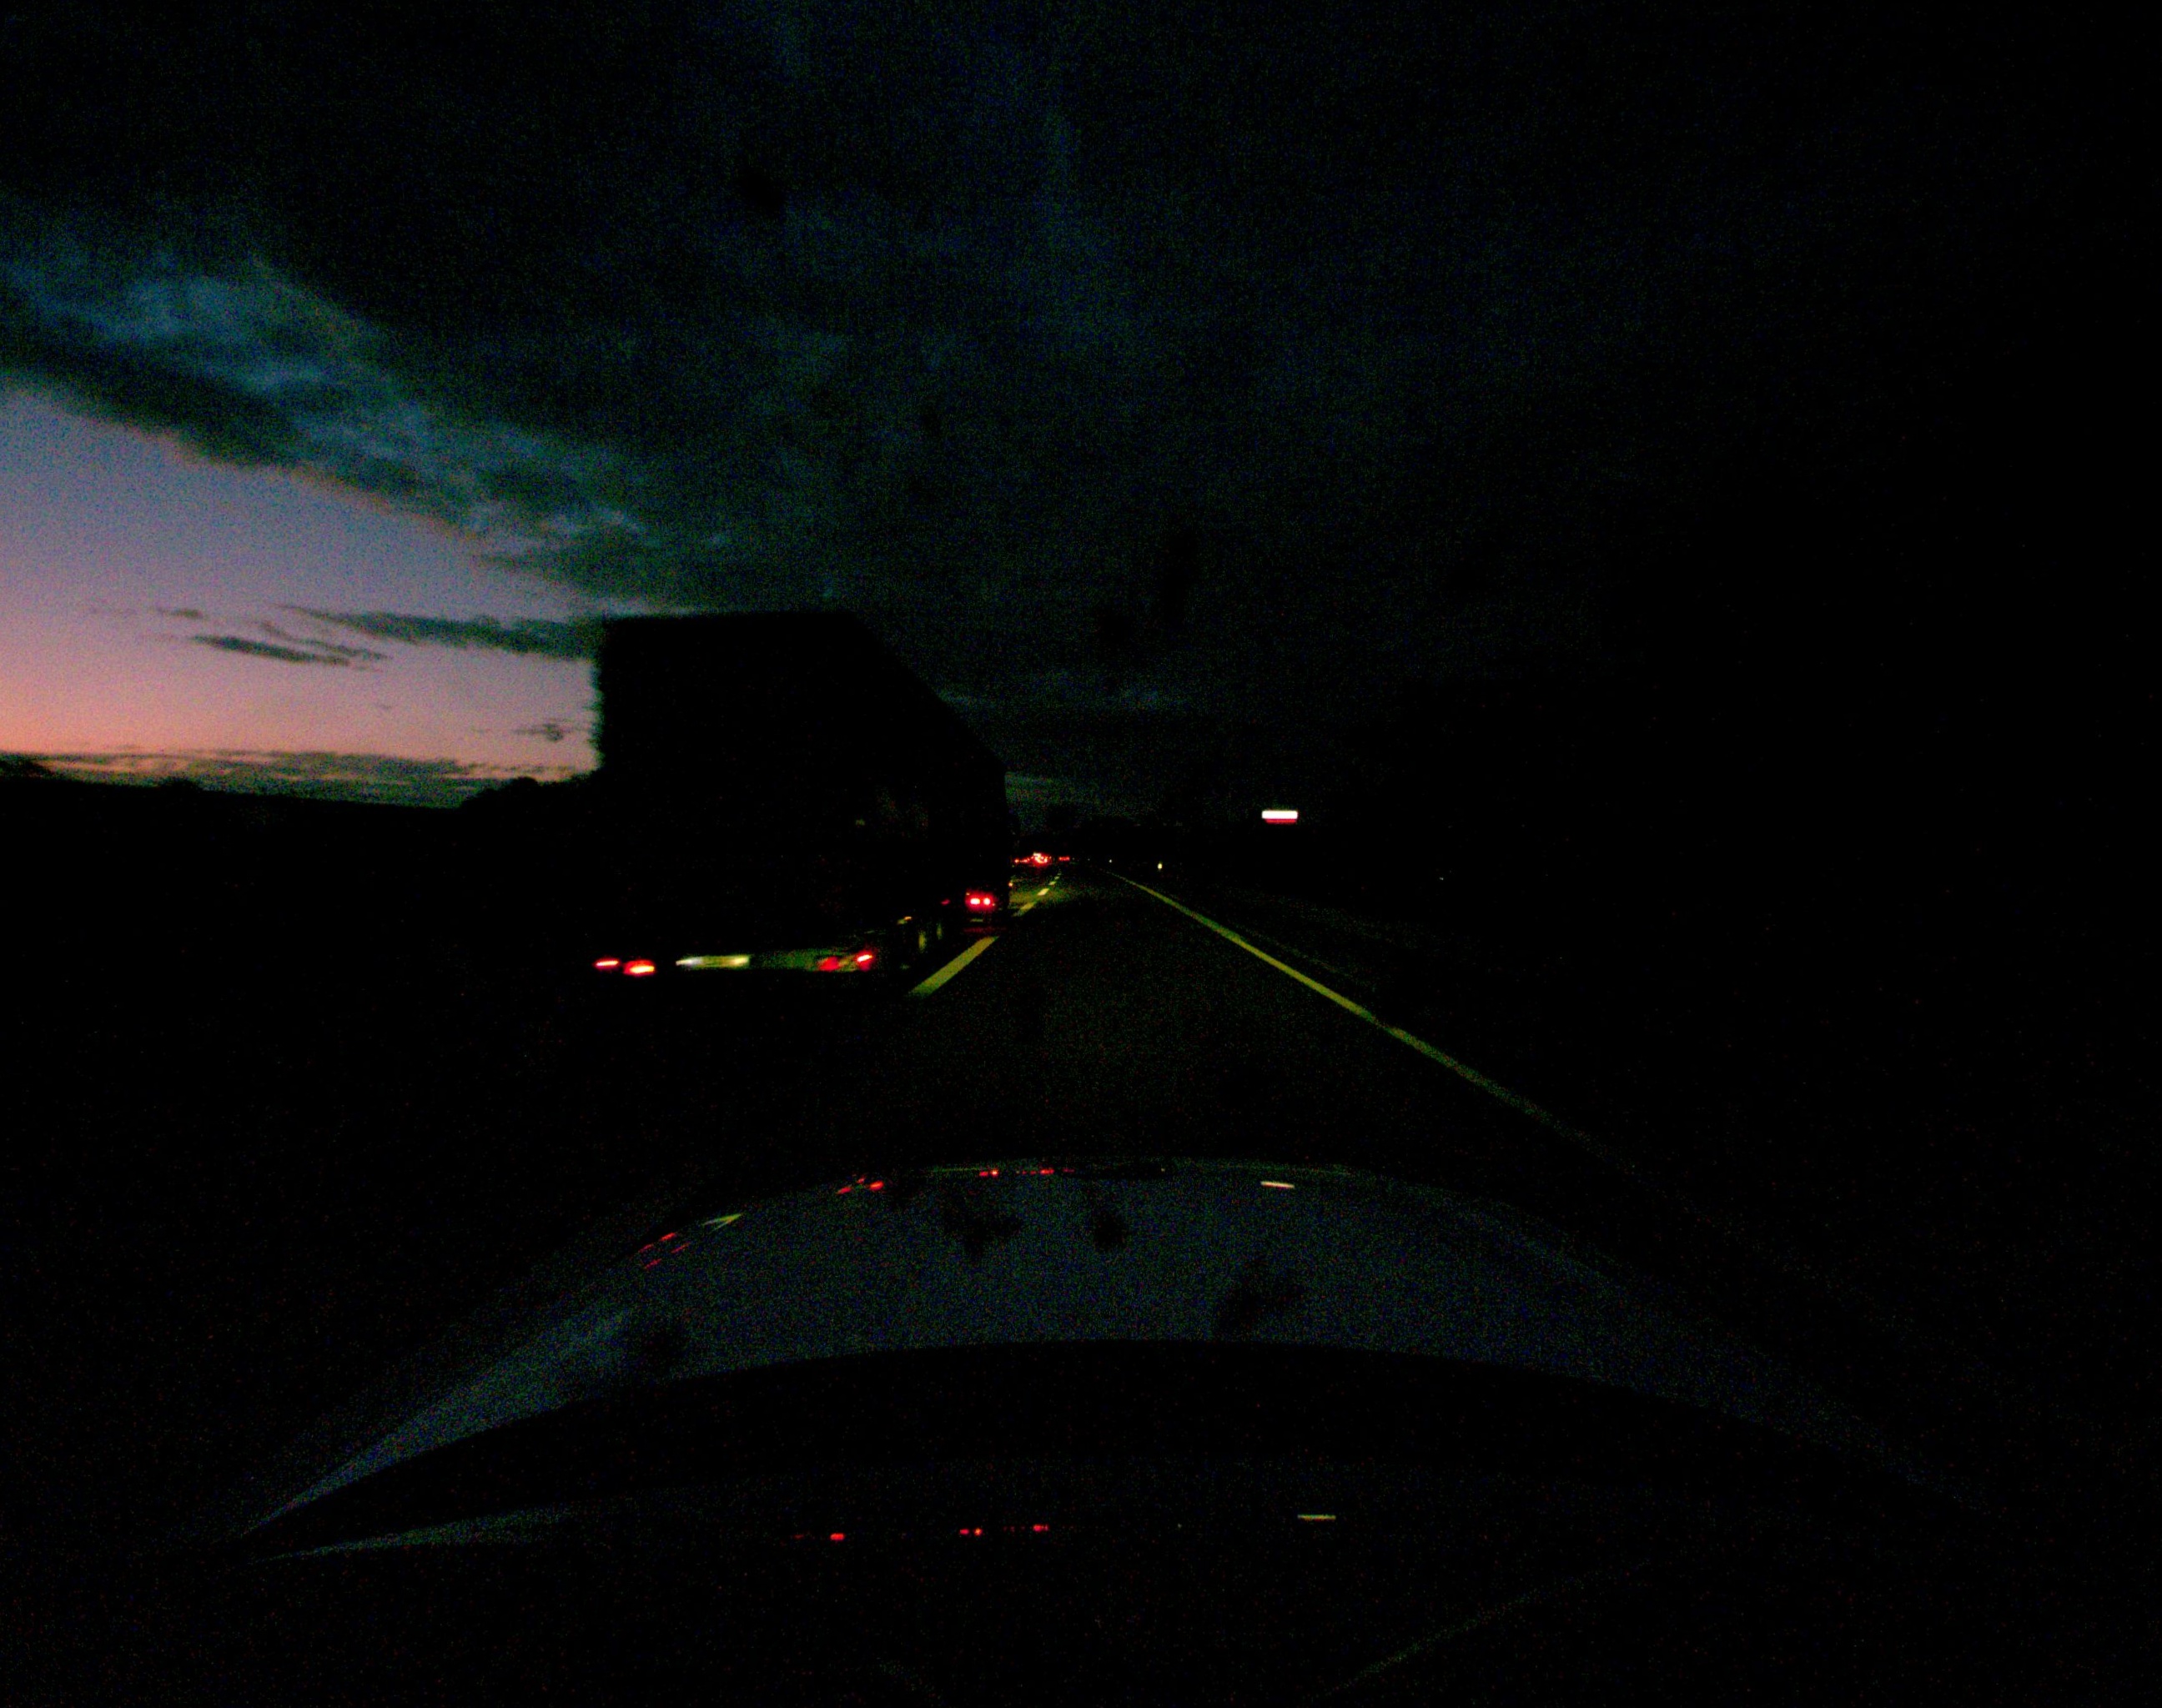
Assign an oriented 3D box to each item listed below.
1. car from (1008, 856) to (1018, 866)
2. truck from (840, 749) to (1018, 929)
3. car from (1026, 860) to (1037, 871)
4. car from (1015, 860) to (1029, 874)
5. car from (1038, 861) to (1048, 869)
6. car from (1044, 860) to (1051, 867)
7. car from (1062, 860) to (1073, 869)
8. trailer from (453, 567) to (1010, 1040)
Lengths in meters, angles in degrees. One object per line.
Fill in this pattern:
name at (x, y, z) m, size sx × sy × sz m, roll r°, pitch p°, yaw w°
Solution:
car at (-15.496, 1.567, 186.375) m, size 1.988 × 2.014 × 3.997 m, roll 0°, pitch -3°, yaw -1°
truck at (-3.765, -0.326, 21.961) m, size 3.539 × 4.091 × 6.149 m, roll -1°, pitch -1°, yaw 0°
car at (-10.113, 2.408, 167.130) m, size 1.986 × 2.014 × 4.000 m, roll 0°, pitch -3°, yaw 1°
car at (-9.293, 2.052, 128.311) m, size 1.988 × 2.080 × 3.996 m, roll 0°, pitch -3°, yaw -2°
car at (-7.193, 2.105, 155.741) m, size 1.880 × 1.354 × 3.996 m, roll 0°, pitch -3°, yaw -2°
car at (-10.719, 3.123, 259.367) m, size 1.988 × 2.014 × 3.996 m, roll 0°, pitch -3°, yaw -2°
car at (-2.572, 2.005, 154.254) m, size 1.988 × 1.354 × 3.996 m, roll 0°, pitch -3°, yaw -2°
trailer at (-3.749, -0.404, 14.751) m, size 3.539 × 4.116 × 15.059 m, roll -1°, pitch 0°, yaw 0°
